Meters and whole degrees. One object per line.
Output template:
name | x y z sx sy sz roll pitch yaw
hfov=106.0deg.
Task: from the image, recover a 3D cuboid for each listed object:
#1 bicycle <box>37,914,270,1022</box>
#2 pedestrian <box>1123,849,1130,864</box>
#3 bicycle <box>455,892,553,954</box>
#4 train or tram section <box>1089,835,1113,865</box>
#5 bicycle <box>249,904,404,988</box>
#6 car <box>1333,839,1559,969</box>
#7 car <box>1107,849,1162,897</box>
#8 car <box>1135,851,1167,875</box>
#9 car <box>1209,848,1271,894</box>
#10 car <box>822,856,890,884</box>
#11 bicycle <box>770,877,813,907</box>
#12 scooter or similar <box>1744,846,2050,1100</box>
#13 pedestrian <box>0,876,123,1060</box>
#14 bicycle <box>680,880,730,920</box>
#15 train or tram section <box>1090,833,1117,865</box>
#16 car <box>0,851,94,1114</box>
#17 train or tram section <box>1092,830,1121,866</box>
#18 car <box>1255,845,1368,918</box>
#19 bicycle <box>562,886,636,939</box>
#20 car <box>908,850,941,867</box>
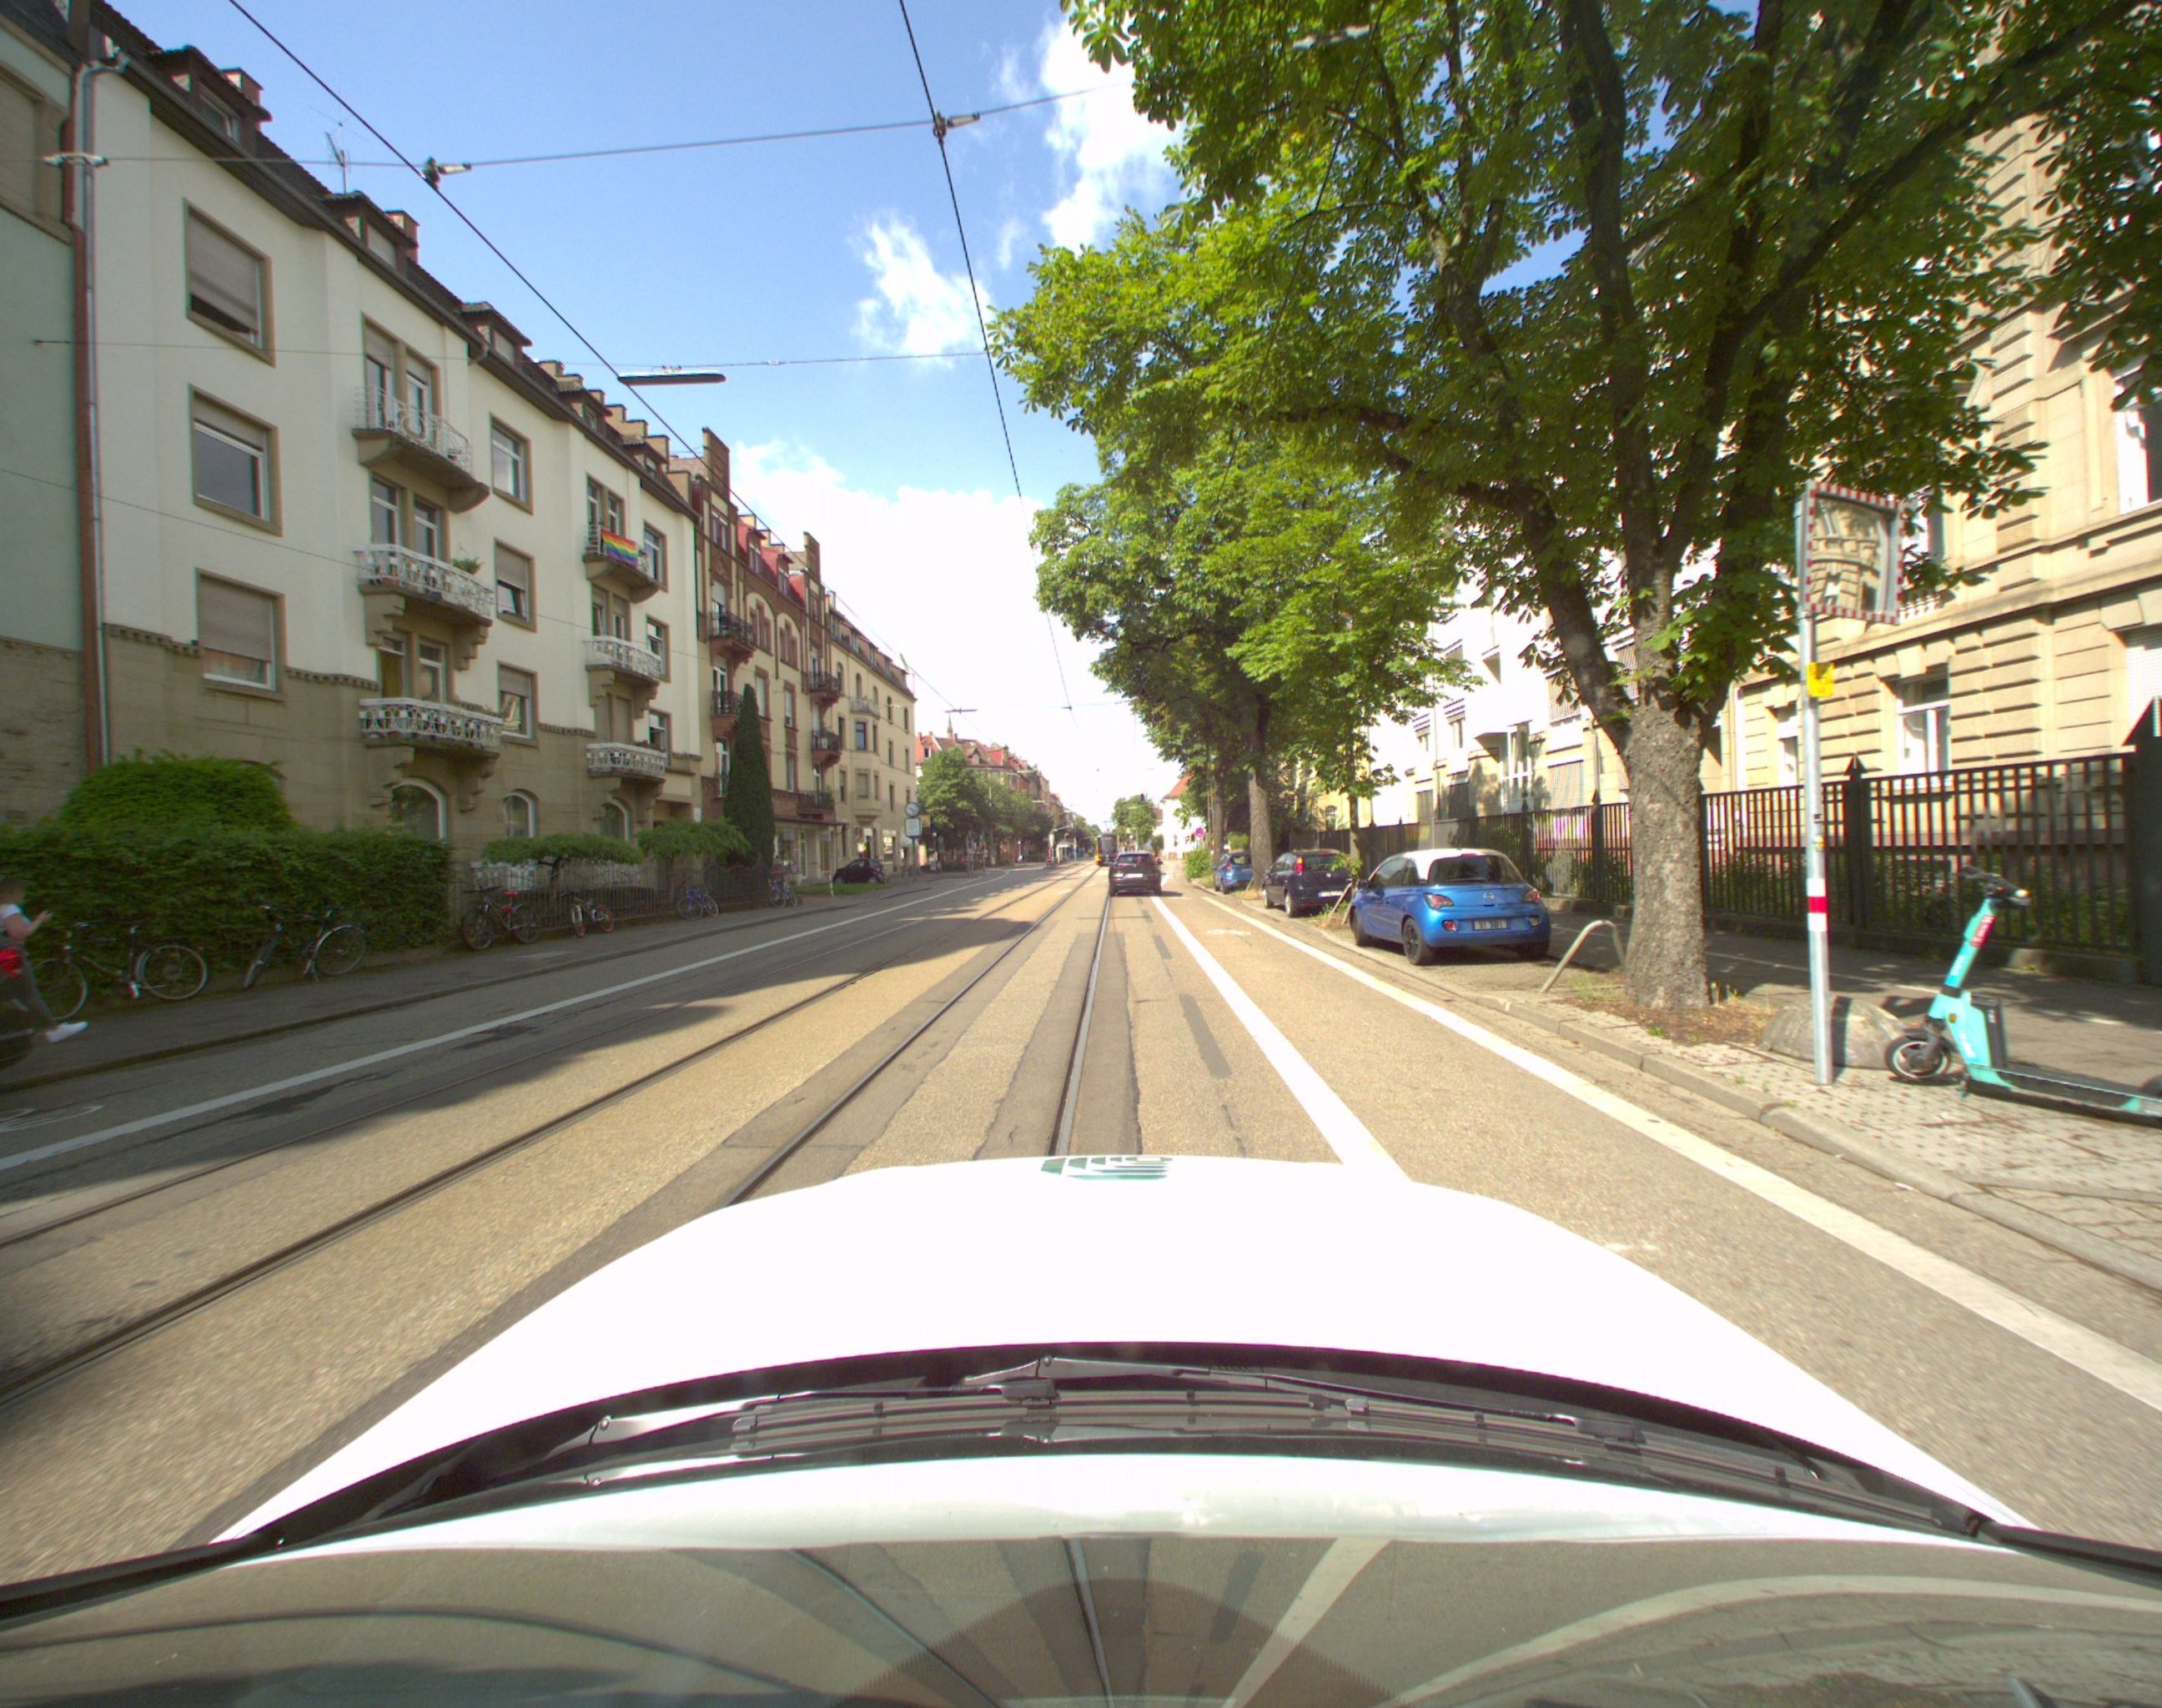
bicycle | -10.580 1.257 9.412 0.381 0.959 1.923 0 0 4
pedestrian | 4.970 0.250 89.571 0.665 1.605 0.700 -2 0 1
bicycle | -10.416 1.222 14.781 0.381 0.959 1.803 0 0 4
train or tram section | 2.502 -0.482 104.561 2.644 3.527 8.493 -3 0 -1
bicycle | -10.479 1.245 11.401 0.449 0.959 1.802 0 0 2
car | 5.061 0.611 11.852 1.634 1.496 3.627 -3 0 1
car | 1.848 0.623 29.167 1.783 1.512 4.352 -1 1 1
car | 4.943 0.604 57.891 1.779 1.492 4.882 -2 0 0
car | 5.820 0.595 30.196 1.617 1.496 3.850 -4 0 2
car | -12.389 0.875 44.974 3.220 1.513 1.681 0 0 5
bicycle | -9.644 1.250 27.217 0.508 0.959 1.819 1 -1 9
scooter or similar | 4.809 0.629 4.871 0.443 1.299 1.171 -6 2 -28
pedestrian | -9.668 0.998 7.485 0.677 1.568 0.883 0 0 4
bicycle | -9.975 1.211 21.659 0.424 0.959 1.707 0 0 4
train or tram section | 2.572 -0.528 96.053 2.644 3.527 8.493 -3 0 -1
car | -8.177 0.911 3.525 1.779 1.762 4.882 -2 0 0
train or tram section | 2.626 -0.573 87.557 2.644 3.527 8.493 -3 0 -1
car | 5.441 0.593 19.713 1.634 1.496 3.758 -3 0 0
bicycle | -10.180 1.214 17.260 0.381 0.975 1.803 0 0 4
car | -23.022 0.682 119.617 4.092 2.013 2.007 -5 0 12
